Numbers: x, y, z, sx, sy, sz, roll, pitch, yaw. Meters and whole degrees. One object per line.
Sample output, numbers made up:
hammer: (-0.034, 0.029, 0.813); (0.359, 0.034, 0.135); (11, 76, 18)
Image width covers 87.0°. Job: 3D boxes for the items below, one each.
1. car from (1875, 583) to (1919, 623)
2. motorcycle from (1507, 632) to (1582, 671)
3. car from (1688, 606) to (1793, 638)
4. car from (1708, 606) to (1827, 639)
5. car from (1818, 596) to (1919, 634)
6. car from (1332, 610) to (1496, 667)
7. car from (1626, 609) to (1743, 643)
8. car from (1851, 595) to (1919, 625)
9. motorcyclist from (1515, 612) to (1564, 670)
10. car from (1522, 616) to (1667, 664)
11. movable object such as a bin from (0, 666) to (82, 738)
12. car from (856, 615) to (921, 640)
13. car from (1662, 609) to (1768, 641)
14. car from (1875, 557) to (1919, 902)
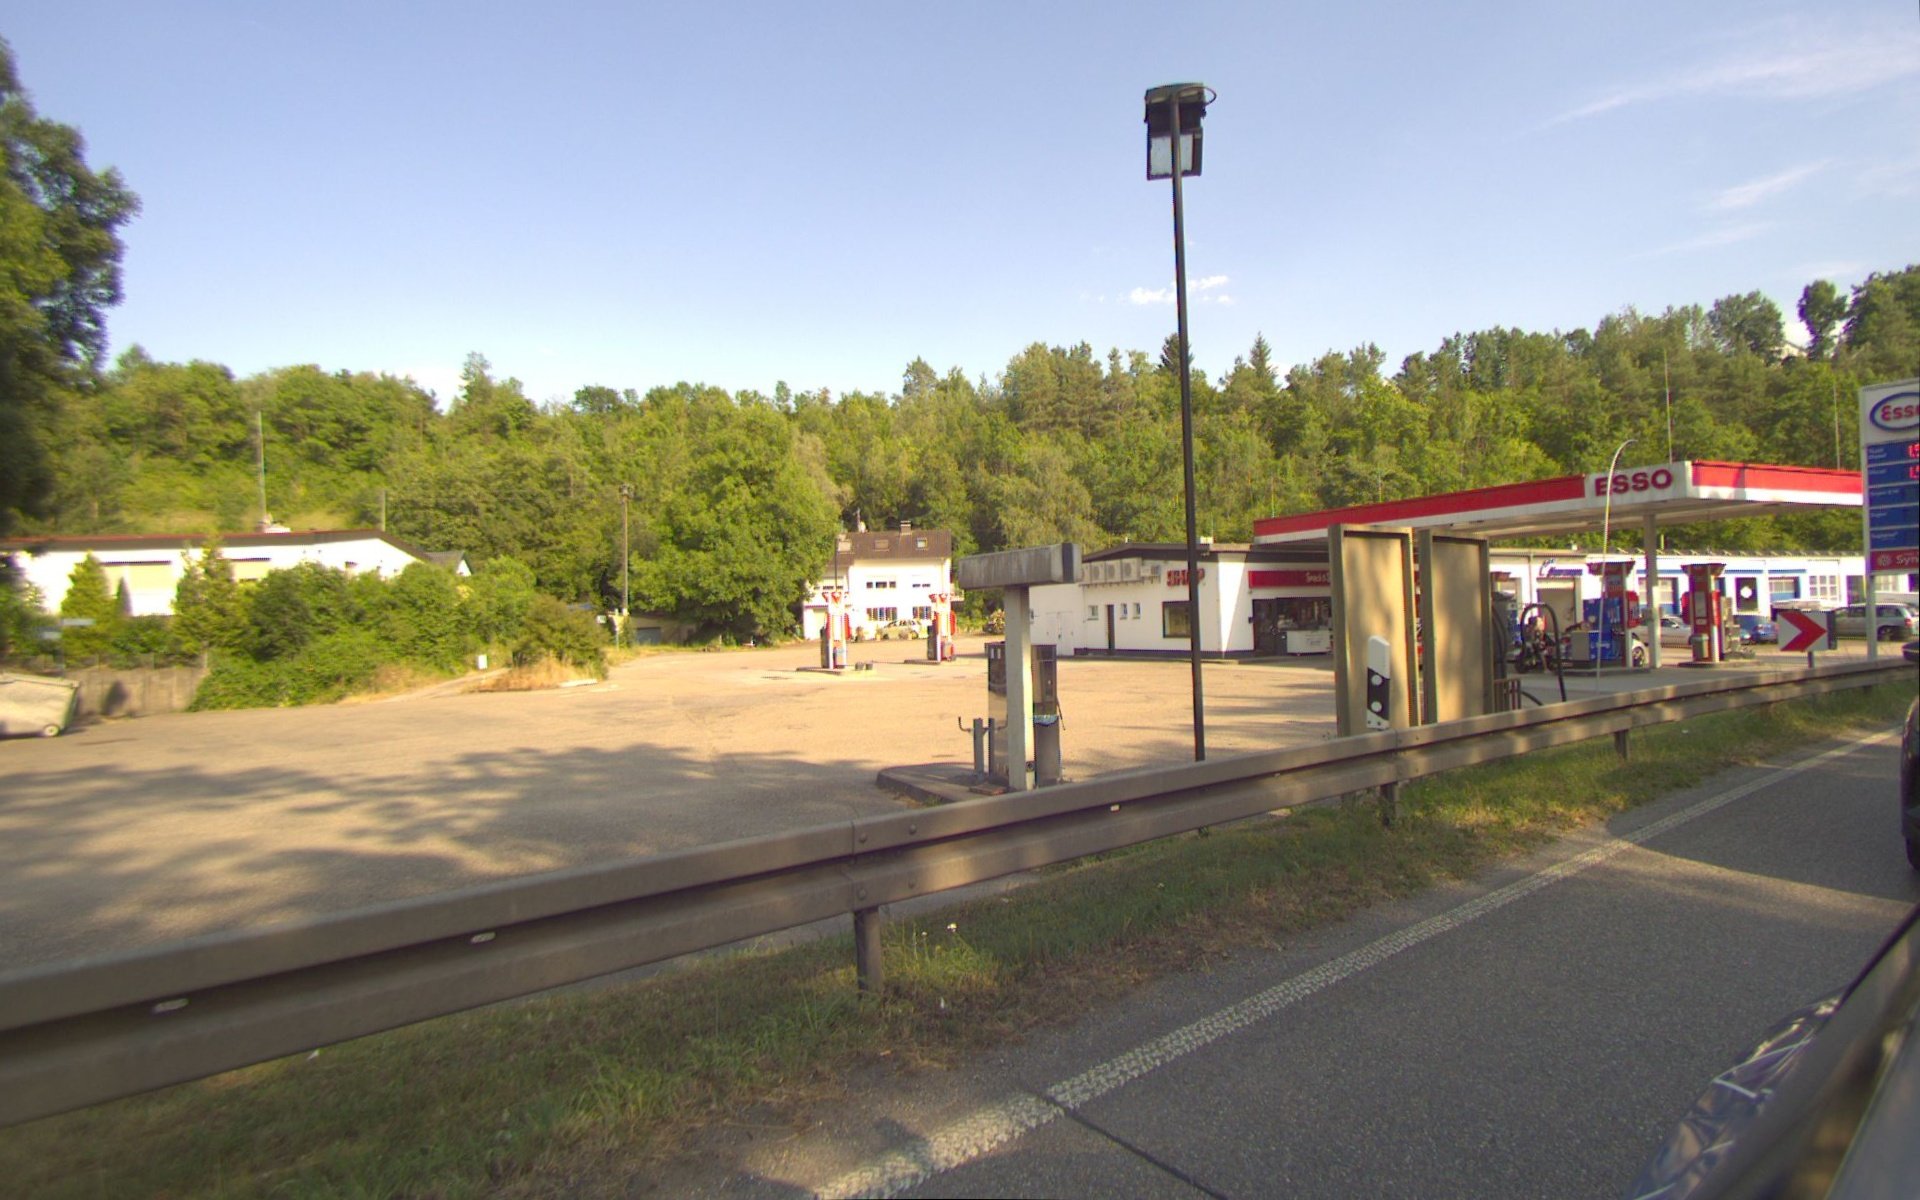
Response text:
car: (56.949, 0.167, 58.548); (2.248, 2.302, 5.500); (0, 1, -26)
motorcycle: (17.142, 1.493, 29.653); (2.293, 1.025, 0.765); (-1, -1, -27)
car: (36.857, 1.023, 47.871); (1.698, 1.464, 3.560); (-1, -1, -26)
car: (38.773, 1.052, 48.700); (1.856, 1.365, 4.087); (-1, 2, -26)
car: (46.243, 0.708, 50.951); (1.854, 1.750, 4.267); (-1, 2, -29)
car: (14.592, 1.185, 32.475); (5.074, 1.649, 2.102); (-1, -1, -28)
car: (32.674, 1.144, 45.735); (1.741, 1.371, 3.973); (-1, 1, -30)
car: (52.780, 0.547, 56.444); (1.856, 1.631, 4.261); (-1, 1, -26)
motorcyclist: (16.925, 1.184, 29.559); (0.909, 1.625, 0.862); (0, -1, -27)
car: (19.925, 1.216, 31.759); (4.299, 1.336, 1.851); (-1, -1, -26)
movable object such as a bin: (-20.410, 2.191, 21.583); (2.512, 1.439, 1.267); (0, -4, -41)
car: (-5.695, 2.178, 81.474); (5.068, 1.860, 2.701); (-1, -1, 0)
car: (34.913, 1.124, 46.881); (1.656, 1.424, 3.566); (-1, 0, -26)
car: (6.817, 0.613, 5.578); (4.359, 1.661, 1.860); (0, 0, -37)
